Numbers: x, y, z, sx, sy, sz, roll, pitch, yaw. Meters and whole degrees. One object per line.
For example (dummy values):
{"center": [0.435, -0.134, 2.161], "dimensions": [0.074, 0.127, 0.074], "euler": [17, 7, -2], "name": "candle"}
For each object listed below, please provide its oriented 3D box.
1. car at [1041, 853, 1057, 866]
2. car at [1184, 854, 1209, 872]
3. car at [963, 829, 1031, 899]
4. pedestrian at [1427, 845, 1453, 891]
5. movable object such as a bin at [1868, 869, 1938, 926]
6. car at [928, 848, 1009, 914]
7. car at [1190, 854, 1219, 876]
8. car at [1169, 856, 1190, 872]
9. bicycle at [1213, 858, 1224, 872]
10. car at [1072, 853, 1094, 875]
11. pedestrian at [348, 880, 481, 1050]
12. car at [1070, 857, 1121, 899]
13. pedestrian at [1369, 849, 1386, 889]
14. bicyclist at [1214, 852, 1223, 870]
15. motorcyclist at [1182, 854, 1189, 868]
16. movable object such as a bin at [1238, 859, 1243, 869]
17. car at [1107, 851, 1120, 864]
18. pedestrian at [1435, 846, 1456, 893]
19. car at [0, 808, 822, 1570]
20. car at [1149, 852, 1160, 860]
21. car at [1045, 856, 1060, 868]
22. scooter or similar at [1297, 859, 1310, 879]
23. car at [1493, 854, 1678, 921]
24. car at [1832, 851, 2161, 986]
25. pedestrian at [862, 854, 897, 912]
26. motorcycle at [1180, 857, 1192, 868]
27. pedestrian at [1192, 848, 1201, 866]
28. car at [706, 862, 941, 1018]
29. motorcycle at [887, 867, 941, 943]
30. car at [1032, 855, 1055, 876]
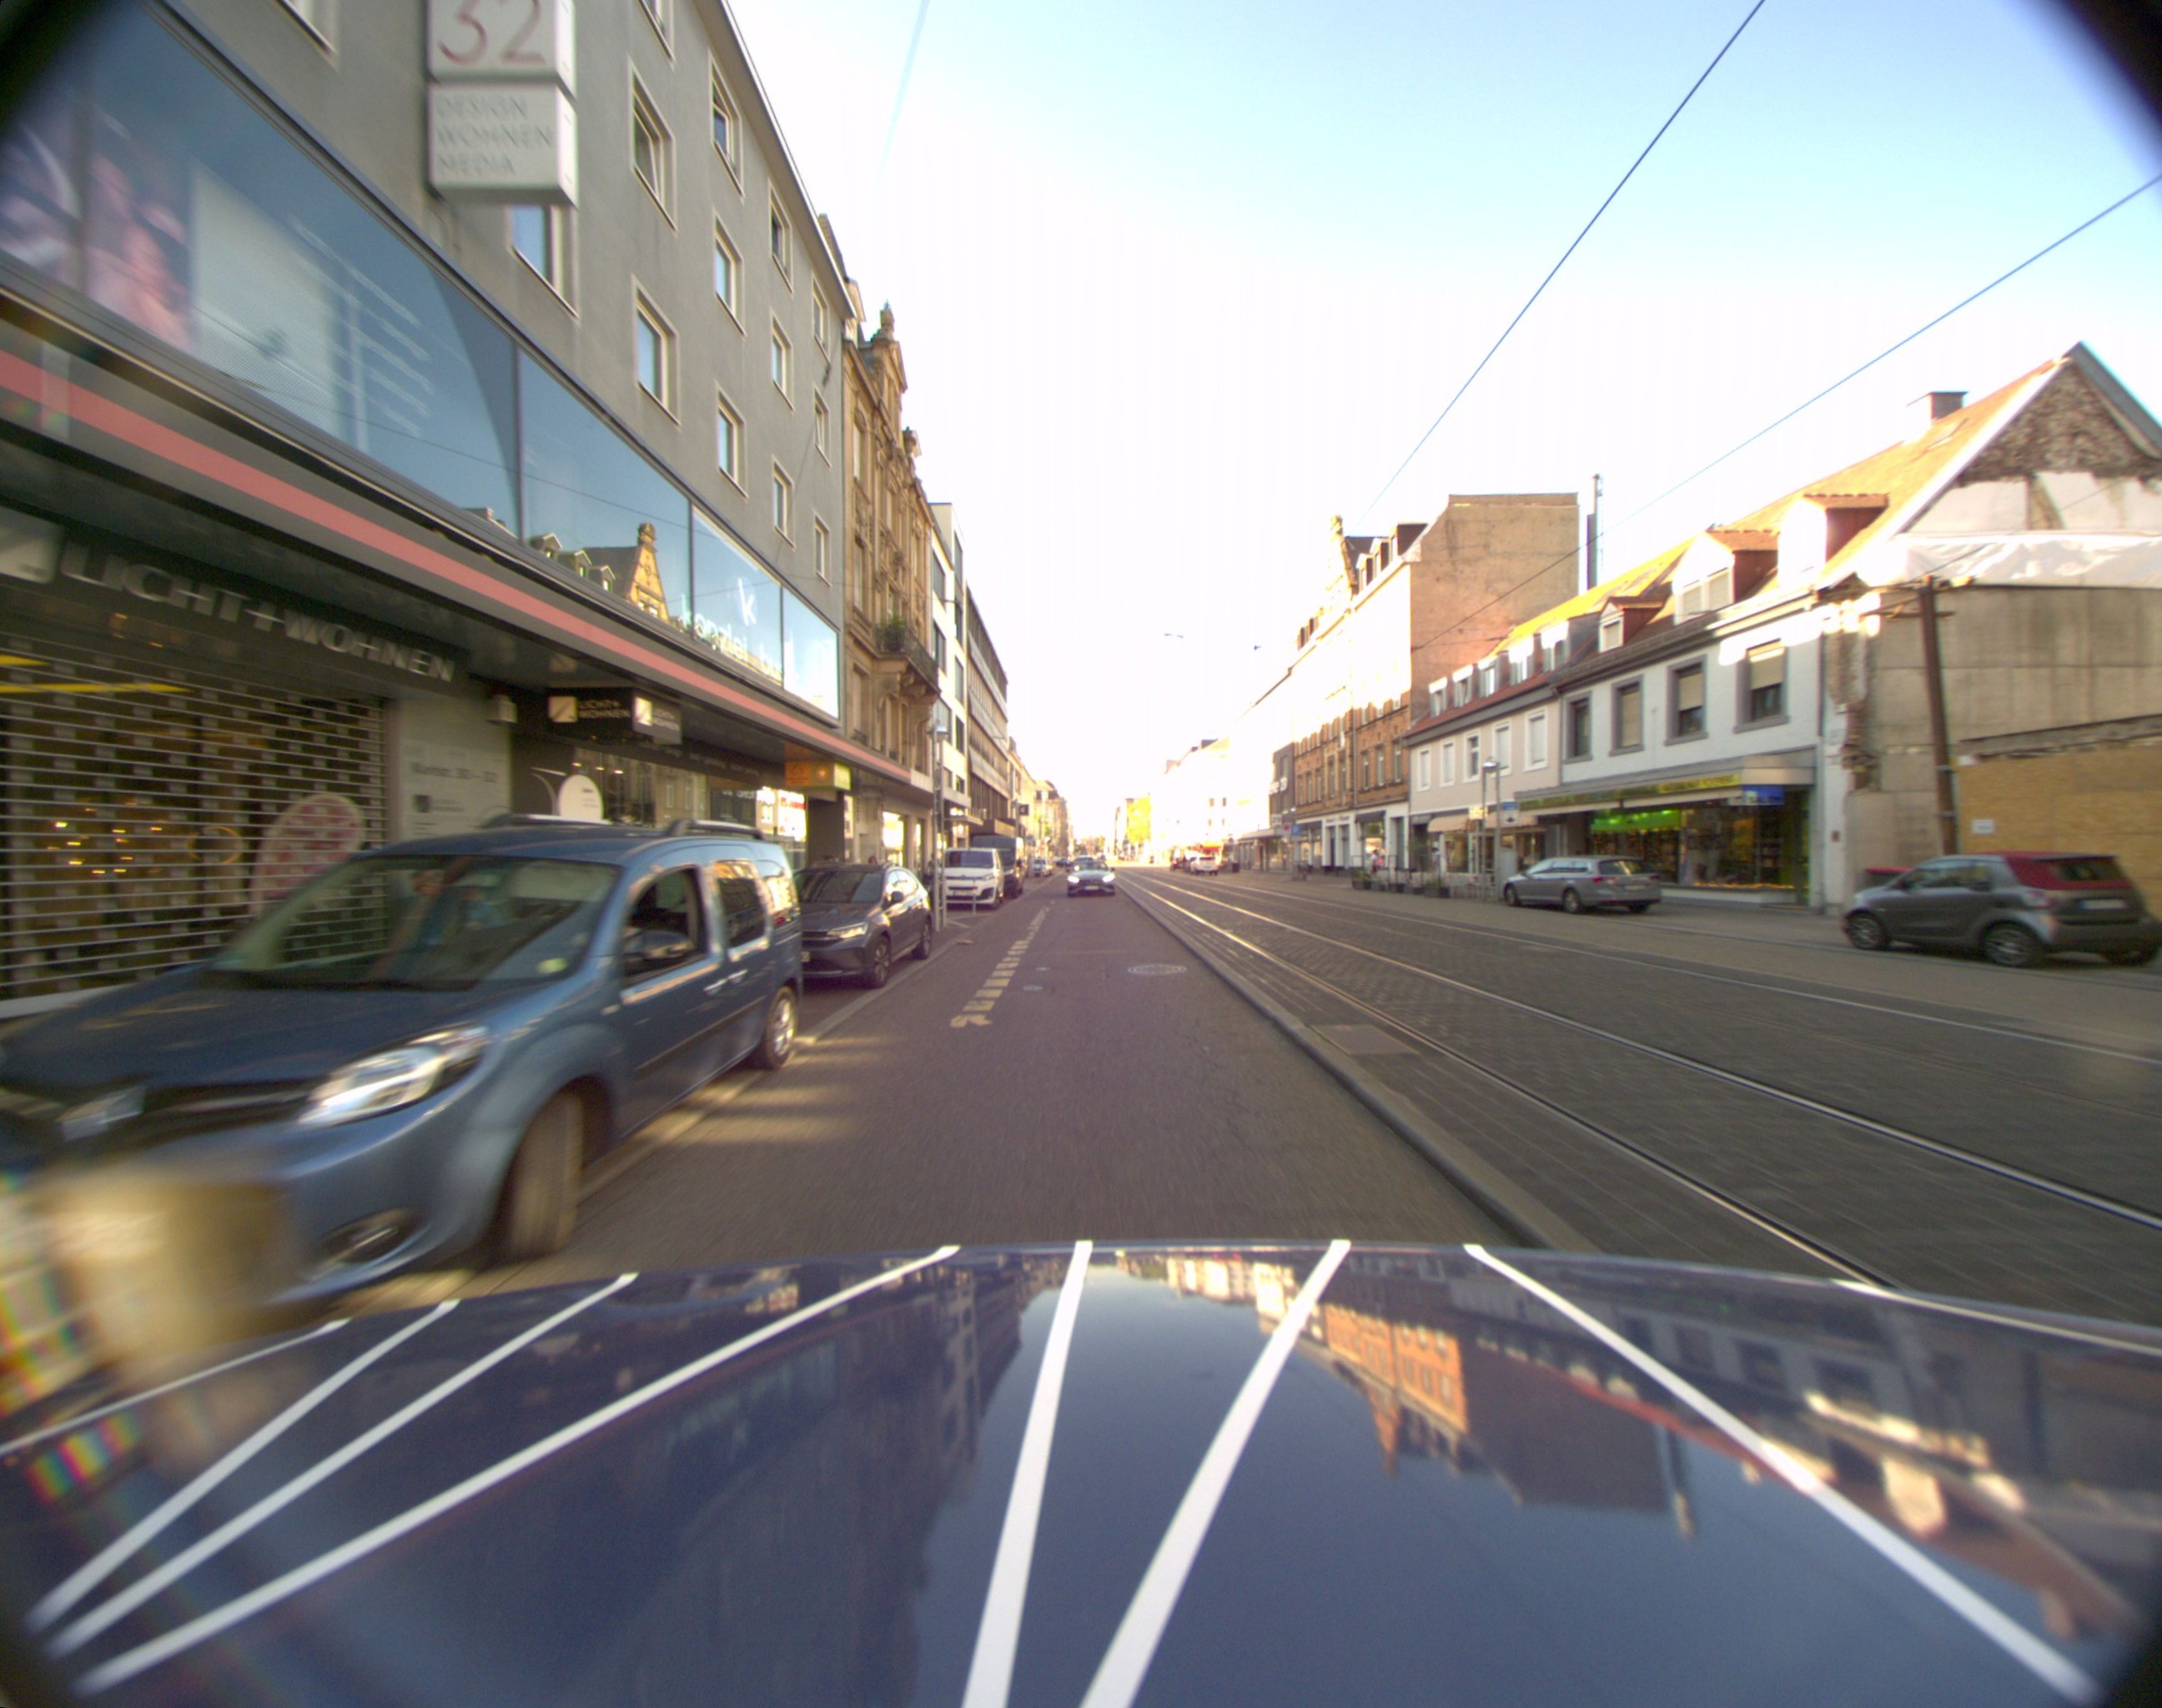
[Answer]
{"center": [-3.501, 0.598, 83.392], "dimensions": [1.630, 1.342, 3.330], "euler": [1, 1, 0], "name": "car"}
{"center": [10.344, 0.815, 68.379], "dimensions": [1.667, 1.521, 3.999], "euler": [0, 1, 0], "name": "car"}
{"center": [-3.296, 0.435, 30.905], "dimensions": [2.051, 2.486, 5.687], "euler": [-3, -1, -1], "name": "car"}
{"center": [14.001, 0.542, 29.619], "dimensions": [0.658, 1.752, 0.581], "euler": [-3, 1, -8], "name": "pedestrian"}
{"center": [16.987, 0.887, 15.714], "dimensions": [0.661, 1.087, 0.697], "euler": [-3, 1, 0], "name": "movable object such as a bin"}
{"center": [-3.457, 0.757, 24.319], "dimensions": [2.052, 1.899, 4.877], "euler": [0, 1, -2], "name": "car"}
{"center": [9.897, 0.868, 61.118], "dimensions": [1.802, 1.625, 3.675], "euler": [0, 1, 0], "name": "car"}
{"center": [10.073, 0.959, 77.662], "dimensions": [1.667, 1.521, 3.999], "euler": [0, 1, 0], "name": "car"}
{"center": [12.449, 0.997, 68.743], "dimensions": [0.610, 1.142, 2.100], "euler": [-3, 1, 0], "name": "bicycle"}
{"center": [0.171, 0.778, 59.376], "dimensions": [1.630, 1.593, 3.330], "euler": [1, 1, 0], "name": "car"}
{"center": [-6.075, 0.978, 6.959], "dimensions": [0.577, 1.431, 0.731], "euler": [1, 1, 0], "name": "pedestrian"}
{"center": [0.514, 0.873, 30.199], "dimensions": [1.858, 1.463, 4.785], "euler": [0, 1, 0], "name": "car"}
{"center": [13.587, 0.665, 34.853], "dimensions": [0.581, 1.795, 0.659], "euler": [-2, 1, 12], "name": "pedestrian"}
{"center": [12.433, 0.643, 68.897], "dimensions": [0.576, 1.538, 0.861], "euler": [-3, 1, 0], "name": "bicyclist"}
{"center": [9.981, 0.672, 72.358], "dimensions": [0.540, 1.296, 0.655], "euler": [1, 1, 0], "name": "motorcyclist"}
{"center": [14.382, 0.898, 68.537], "dimensions": [0.325, 0.942, 0.467], "euler": [-1, 1, 0], "name": "movable object such as a bin"}
{"center": [5.381, 0.527, 126.967], "dimensions": [1.998, 2.002, 4.000], "euler": [-3, 1, 1], "name": "car"}
{"center": [14.634, 0.610, 30.516], "dimensions": [0.657, 1.839, 0.583], "euler": [-2, 1, 31], "name": "pedestrian"}
{"center": [-2.972, 0.789, 4.082], "dimensions": [1.821, 1.849, 4.548], "euler": [0, 1, -3], "name": "car"}
{"center": [13.890, 0.401, 143.622], "dimensions": [1.630, 1.524, 3.463], "euler": [1, 1, 0], "name": "car"}
{"center": [-3.342, 0.908, 89.410], "dimensions": [1.630, 1.342, 3.463], "euler": [1, 1, 0], "name": "car"}
{"center": [13.726, 0.910, 46.786], "dimensions": [0.404, 1.216, 1.202], "euler": [-3, 1, 0], "name": "scooter or similar"}
{"center": [13.221, 0.794, 20.353], "dimensions": [1.822, 1.505, 4.762], "euler": [-1, 1, 0], "name": "car"}
{"center": [13.065, 0.803, 10.904], "dimensions": [1.701, 1.594, 2.891], "euler": [-2, 1, 0], "name": "car"}
{"center": [-5.388, 0.766, 20.307], "dimensions": [0.697, 1.499, 0.814], "euler": [0, 1, 0], "name": "pedestrian"}
{"center": [10.021, 0.811, 72.386], "dimensions": [0.907, 0.987, 1.935], "euler": [0, 1, 0], "name": "motorcycle"}
{"center": [12.295, 0.340, 80.899], "dimensions": [0.705, 1.830, 0.636], "euler": [-3, 1, 0], "name": "pedestrian"}
{"center": [-3.189, 0.958, 10.376], "dimensions": [1.768, 1.568, 4.287], "euler": [1, 1, -1], "name": "car"}
{"center": [-3.497, 1.030, 16.125], "dimensions": [0.660, 1.423, 2.322], "euler": [0, 1, -1], "name": "motorcycle"}
{"center": [-2.933, 0.853, 59.793], "dimensions": [1.630, 1.543, 3.508], "euler": [1, 1, 0], "name": "car"}
